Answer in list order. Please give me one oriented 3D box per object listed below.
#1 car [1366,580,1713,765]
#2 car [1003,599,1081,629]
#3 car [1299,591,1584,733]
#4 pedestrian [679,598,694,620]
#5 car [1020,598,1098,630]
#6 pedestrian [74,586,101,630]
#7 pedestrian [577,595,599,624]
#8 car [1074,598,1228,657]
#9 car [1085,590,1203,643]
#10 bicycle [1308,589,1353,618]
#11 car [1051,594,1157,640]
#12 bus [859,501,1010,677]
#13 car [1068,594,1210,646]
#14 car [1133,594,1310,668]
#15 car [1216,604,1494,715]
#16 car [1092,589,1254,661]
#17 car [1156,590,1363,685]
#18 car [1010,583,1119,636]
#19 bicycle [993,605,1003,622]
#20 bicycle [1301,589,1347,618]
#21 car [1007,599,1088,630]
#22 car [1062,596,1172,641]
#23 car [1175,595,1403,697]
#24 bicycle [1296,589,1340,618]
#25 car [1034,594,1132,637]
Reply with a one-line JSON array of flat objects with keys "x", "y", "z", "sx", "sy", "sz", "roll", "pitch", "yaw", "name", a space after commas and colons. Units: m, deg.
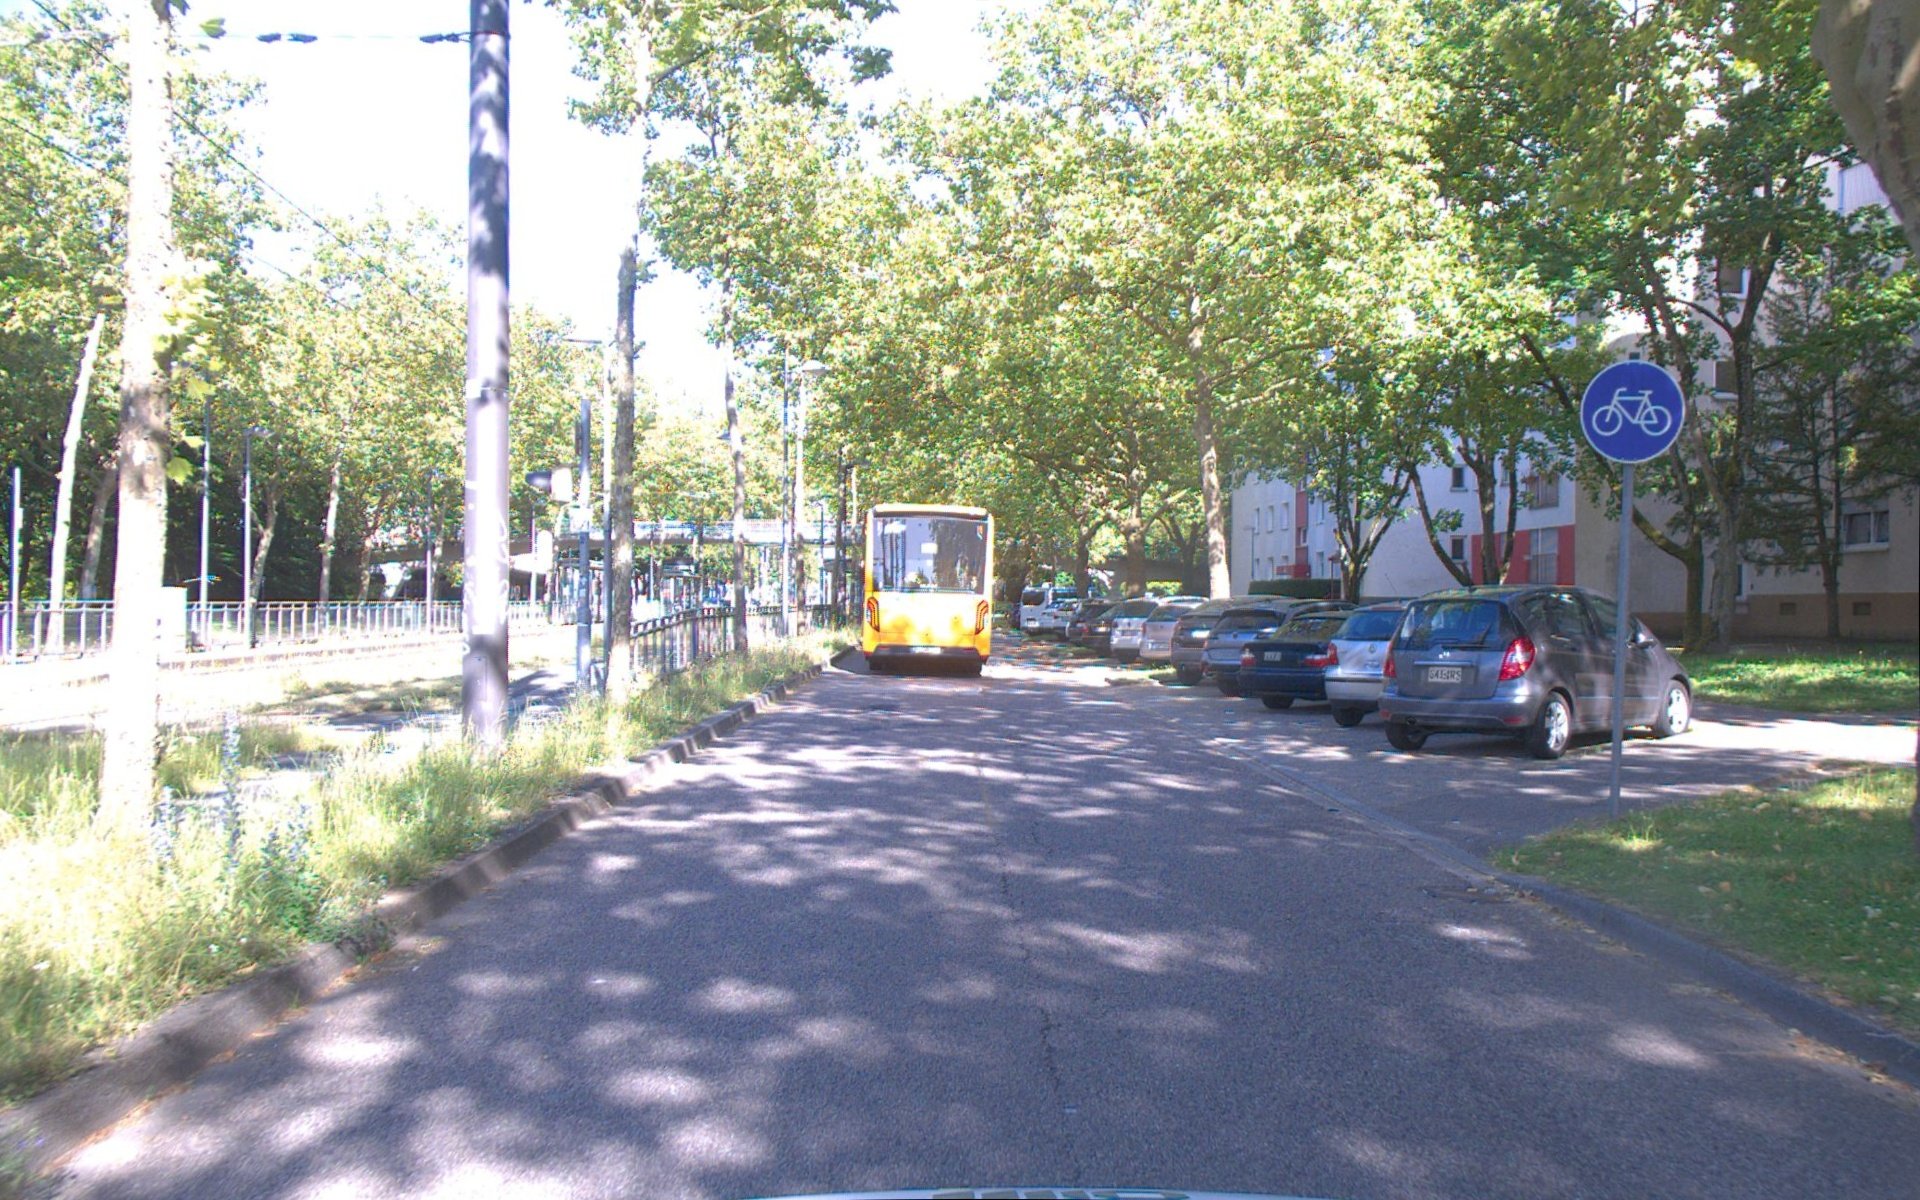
[{"x": 5.904, "y": 0.641, "z": 16.686, "sx": 3.695, "sy": 1.620, "sz": 1.772, "roll": -1, "pitch": 0, "yaw": -42, "name": "car"}, {"x": 4.483, "y": 0.754, "z": 90.095, "sx": 4.220, "sy": 1.487, "sz": 1.773, "roll": -2, "pitch": 0, "yaw": -42, "name": "car"}, {"x": 5.892, "y": 0.686, "z": 20.085, "sx": 3.555, "sy": 1.518, "sz": 1.771, "roll": -1, "pitch": 0, "yaw": -43, "name": "car"}, {"x": -15.933, "y": 0.514, "z": 96.196, "sx": 0.762, "sy": 1.259, "sz": 0.721, "roll": 1, "pitch": 0, "yaw": -3, "name": "pedestrian"}, {"x": 5.027, "y": 0.714, "z": 83.821, "sx": 3.970, "sy": 1.493, "sz": 1.754, "roll": -2, "pitch": 0, "yaw": -44, "name": "car"}, {"x": -33.622, "y": 0.310, "z": 63.743, "sx": 0.635, "sy": 1.690, "sz": 0.650, "roll": 1, "pitch": 0, "yaw": 0, "name": "pedestrian"}, {"x": -15.894, "y": 0.394, "z": 70.757, "sx": 0.750, "sy": 1.204, "sz": 0.763, "roll": 1, "pitch": 0, "yaw": -1, "name": "pedestrian"}, {"x": 5.216, "y": 0.719, "z": 44.783, "sx": 1.769, "sy": 1.447, "sz": 4.560, "roll": -1, "pitch": 0, "yaw": 43, "name": "car"}, {"x": 6.164, "y": 0.526, "z": 55.229, "sx": 3.970, "sy": 1.617, "sz": 1.771, "roll": -2, "pitch": 0, "yaw": -44, "name": "car"}, {"x": 15.600, "y": 0.150, "z": 69.675, "sx": 1.760, "sy": 1.149, "sz": 0.499, "roll": -3, "pitch": 0, "yaw": -6, "name": "bicycle"}, {"x": 5.358, "y": 0.608, "z": 61.247, "sx": 1.767, "sy": 1.536, "sz": 4.188, "roll": -2, "pitch": 0, "yaw": 41, "name": "car"}, {"x": -0.689, "y": -0.190, "z": 37.561, "sx": 2.841, "sy": 3.324, "sz": 12.212, "roll": 0, "pitch": 0, "yaw": -2, "name": "bus"}, {"x": 5.577, "y": 0.617, "z": 51.384, "sx": 4.369, "sy": 1.453, "sz": 1.923, "roll": -2, "pitch": 0, "yaw": -41, "name": "car"}, {"x": 5.790, "y": 0.649, "z": 36.373, "sx": 3.967, "sy": 1.469, "sz": 1.772, "roll": -1, "pitch": 0, "yaw": -43, "name": "car"}, {"x": 5.585, "y": 0.766, "z": 23.115, "sx": 4.111, "sy": 1.341, "sz": 1.772, "roll": -1, "pitch": 0, "yaw": -42, "name": "car"}, {"x": 5.237, "y": 0.583, "z": 40.357, "sx": 3.966, "sy": 1.603, "sz": 1.773, "roll": -1, "pitch": 0, "yaw": -42, "name": "car"}, {"x": 5.459, "y": 0.630, "z": 29.794, "sx": 1.768, "sy": 1.536, "sz": 4.153, "roll": -1, "pitch": 0, "yaw": 42, "name": "car"}, {"x": 4.502, "y": 0.408, "z": 70.748, "sx": 4.550, "sy": 2.088, "sz": 1.987, "roll": -2, "pitch": 0, "yaw": -42, "name": "car"}, {"x": 2.719, "y": 0.971, "z": 119.612, "sx": 0.578, "sy": 1.203, "sz": 1.799, "roll": -3, "pitch": 1, "yaw": -2, "name": "bicycle"}, {"x": 15.479, "y": 0.148, "z": 70.316, "sx": 1.760, "sy": 1.149, "sz": 0.549, "roll": -3, "pitch": 0, "yaw": -6, "name": "bicycle"}, {"x": 4.617, "y": 0.764, "z": 86.961, "sx": 4.220, "sy": 1.487, "sz": 1.773, "roll": -2, "pitch": 0, "yaw": -42, "name": "car"}, {"x": 5.562, "y": 0.646, "z": 58.352, "sx": 1.800, "sy": 1.444, "sz": 3.974, "roll": -2, "pitch": 0, "yaw": 43, "name": "car"}, {"x": 5.357, "y": 0.688, "z": 26.658, "sx": 1.770, "sy": 1.471, "sz": 3.860, "roll": -1, "pitch": 0, "yaw": 45, "name": "car"}, {"x": 15.359, "y": 0.151, "z": 70.947, "sx": 1.760, "sy": 1.149, "sz": 0.499, "roll": -3, "pitch": 0, "yaw": -6, "name": "bicycle"}, {"x": 5.066, "y": 0.622, "z": 67.761, "sx": 4.028, "sy": 1.608, "sz": 1.803, "roll": -2, "pitch": 0, "yaw": -44, "name": "car"}]
